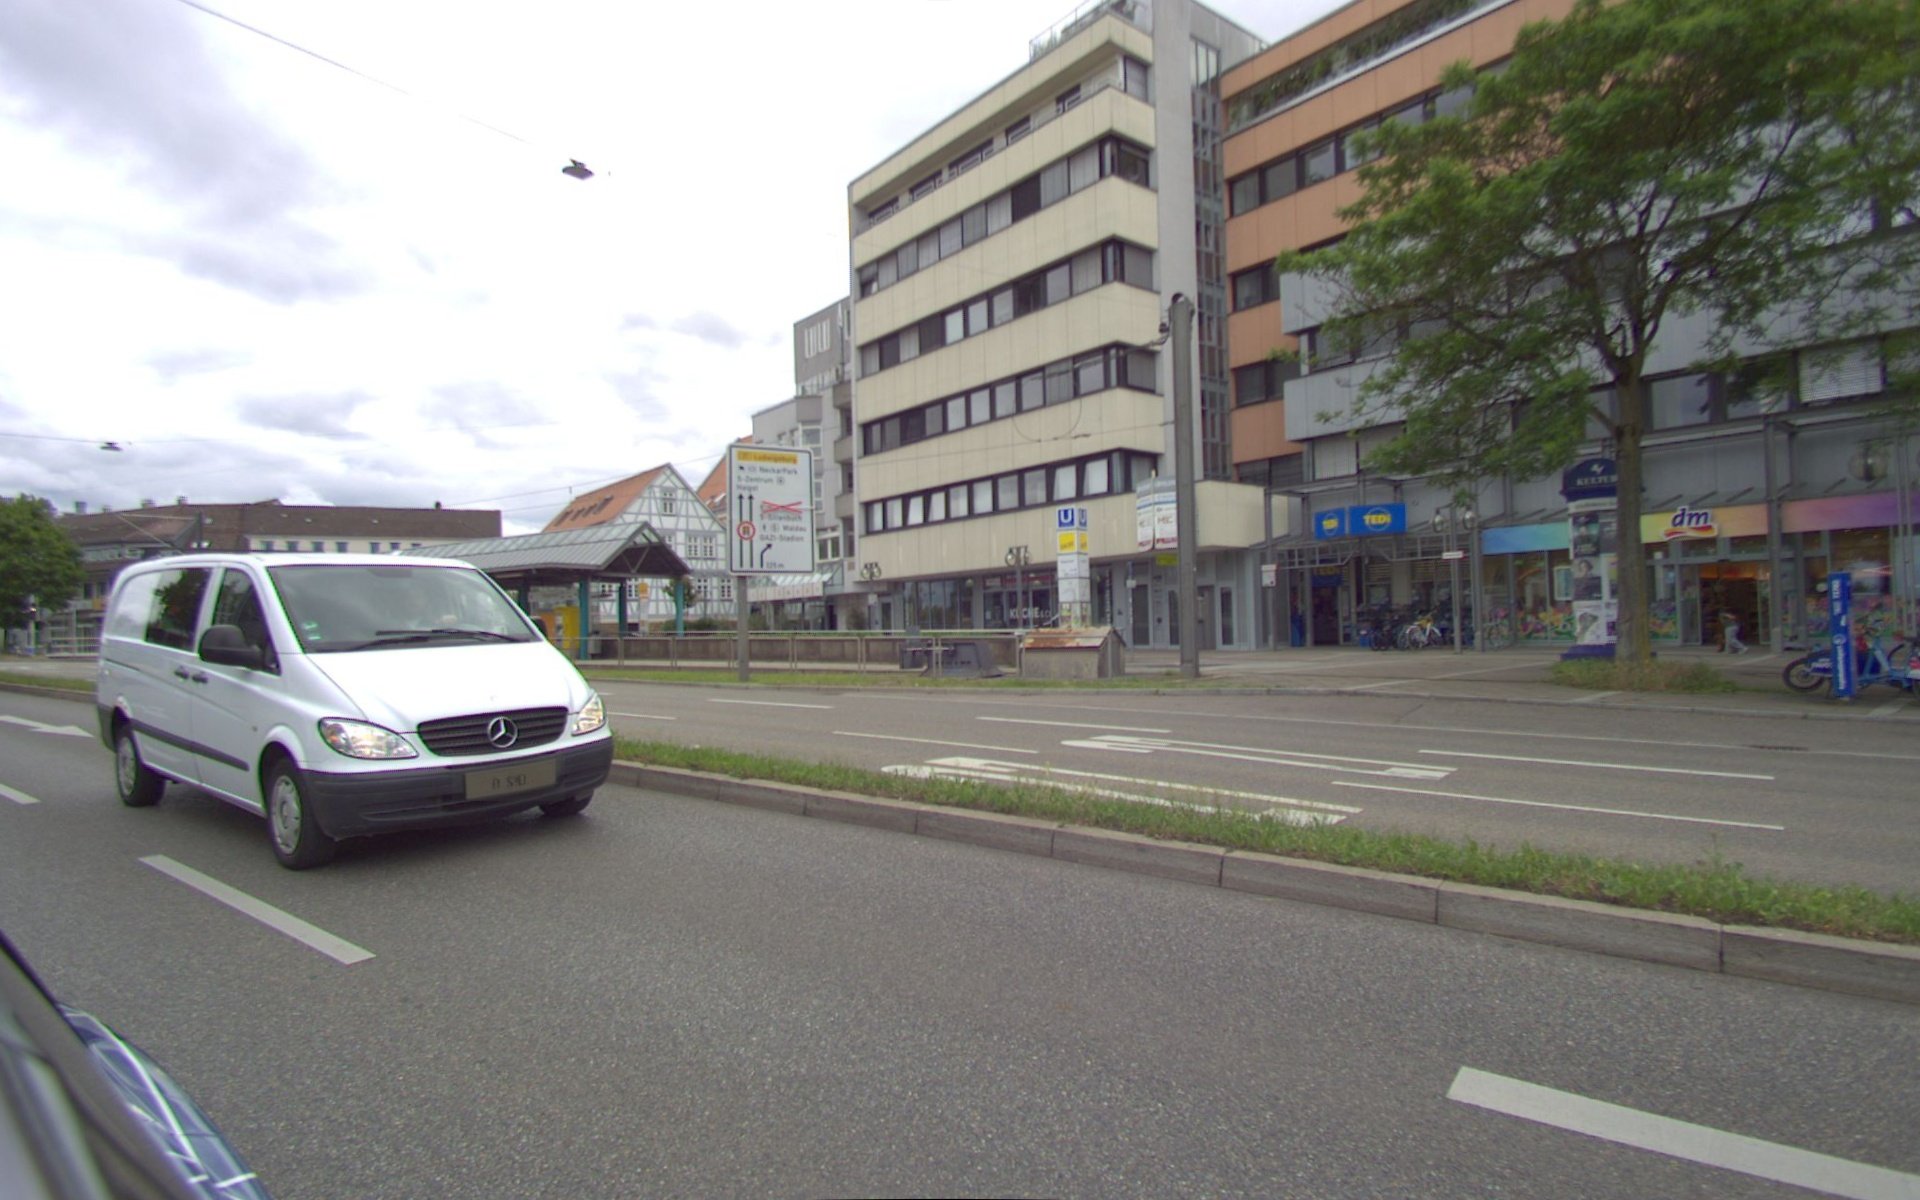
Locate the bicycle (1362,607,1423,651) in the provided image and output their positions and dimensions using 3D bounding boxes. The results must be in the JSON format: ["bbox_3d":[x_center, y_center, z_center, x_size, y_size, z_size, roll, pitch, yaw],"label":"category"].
[{"bbox_3d":[13.300,0.879,31.095,1.940,1.329,0.708,0,-1,-31],"label":"bicycle"}]

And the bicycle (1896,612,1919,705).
[{"bbox_3d":[13.377,0.776,13.158,0.616,1.263,1.688,0,-1,-14],"label":"bicycle"}]

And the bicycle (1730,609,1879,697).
[{"bbox_3d":[12.822,0.780,15.438,0.616,1.263,1.688,0,-1,-13],"label":"bicycle"}]

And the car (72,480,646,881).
[{"bbox_3d":[-4.624,0.498,7.408,5.067,2.029,1.856,-2,-2,37],"label":"car"}]

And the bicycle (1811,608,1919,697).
[{"bbox_3d":[13.613,0.758,15.061,0.425,1.263,1.474,0,-1,-11],"label":"bicycle"}]

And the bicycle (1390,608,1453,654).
[{"bbox_3d":[13.797,0.914,30.232,1.940,1.329,0.708,0,-1,-31],"label":"bicycle"}]
